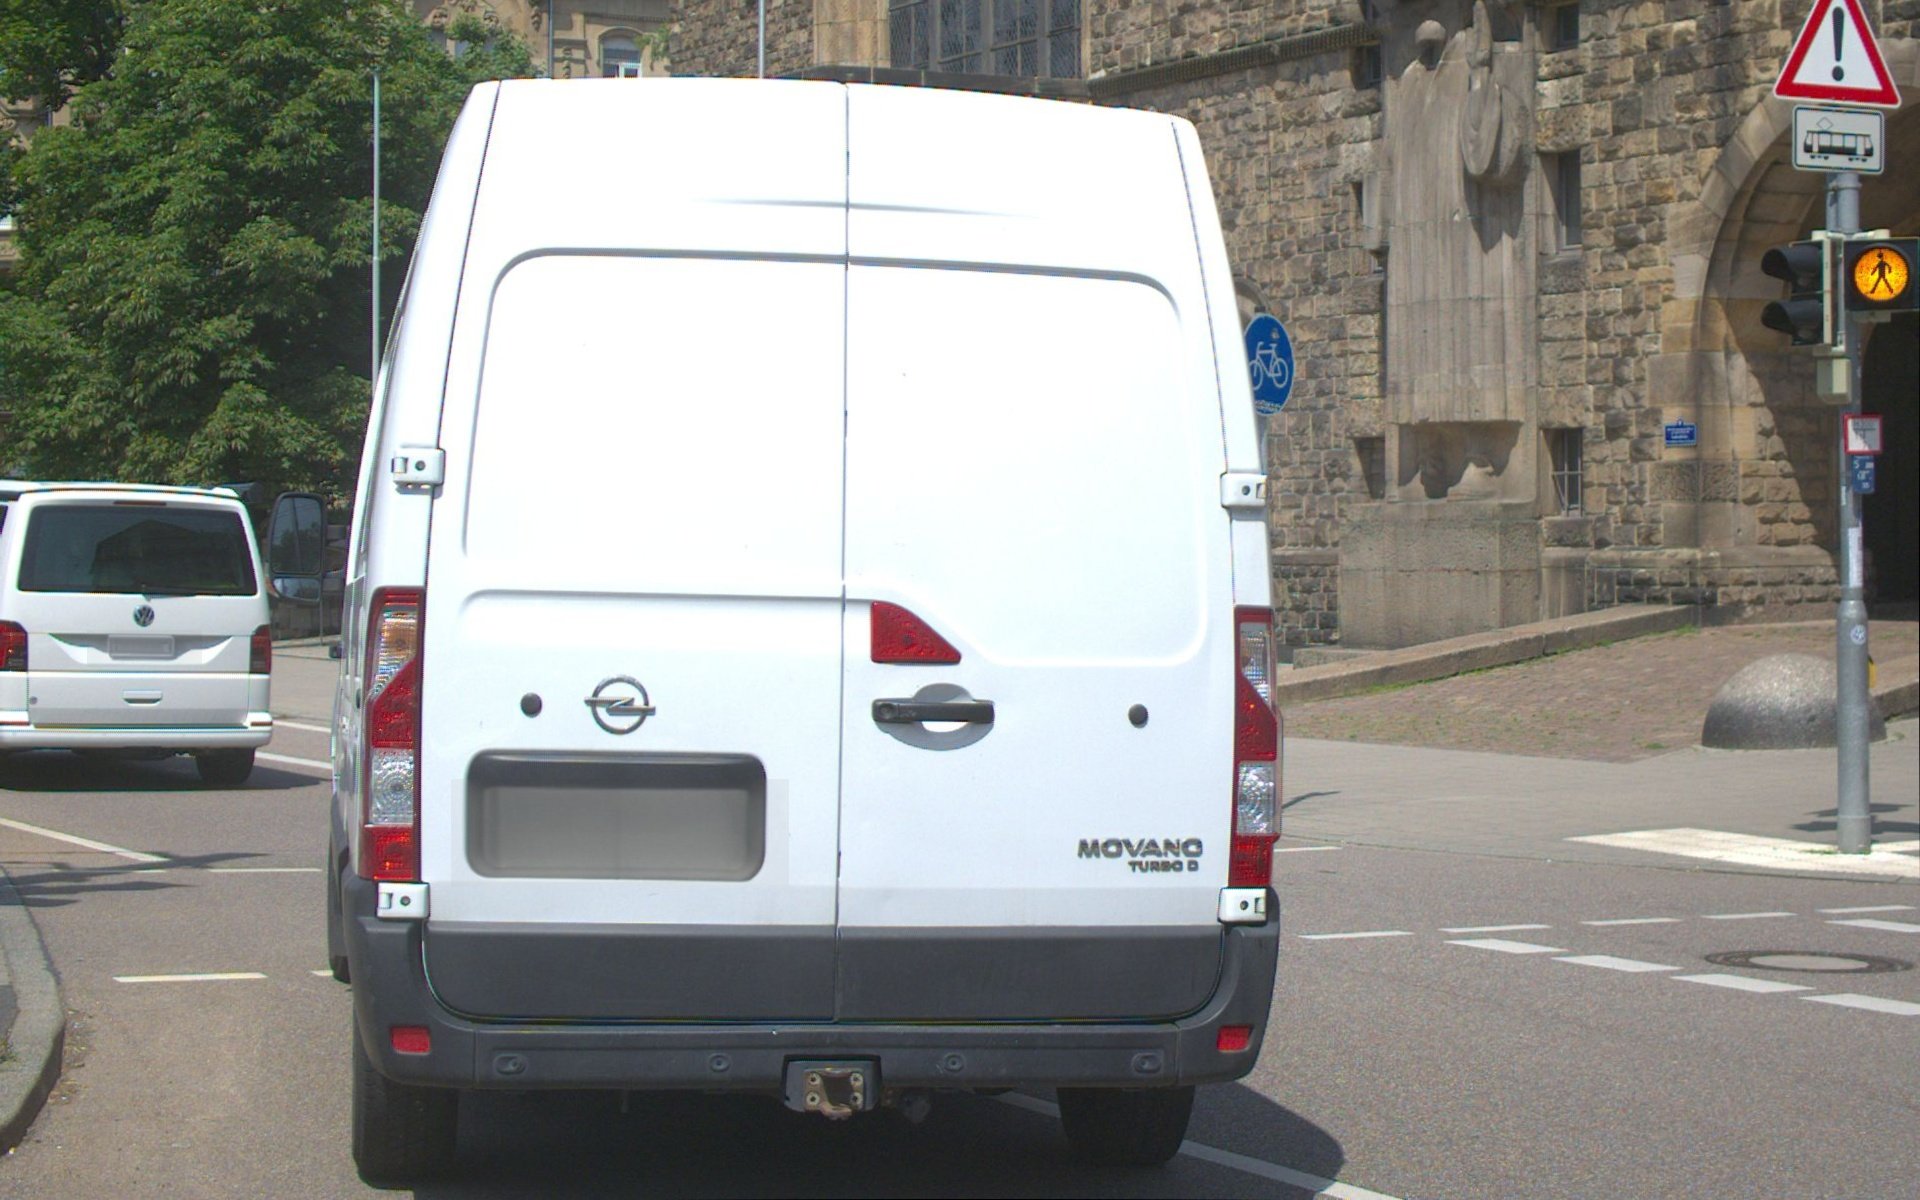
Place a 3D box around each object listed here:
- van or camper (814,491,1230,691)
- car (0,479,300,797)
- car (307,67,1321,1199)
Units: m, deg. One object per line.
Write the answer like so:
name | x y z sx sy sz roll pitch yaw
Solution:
van or camper | 0.668 -0.142 35.935 3.987 1.819 1.803 -3 5 -31
car | -6.078 0.198 23.309 1.916 1.937 4.264 0 1 -29
car | -0.711 0.111 9.625 2.116 2.450 5.056 0 1 -10
